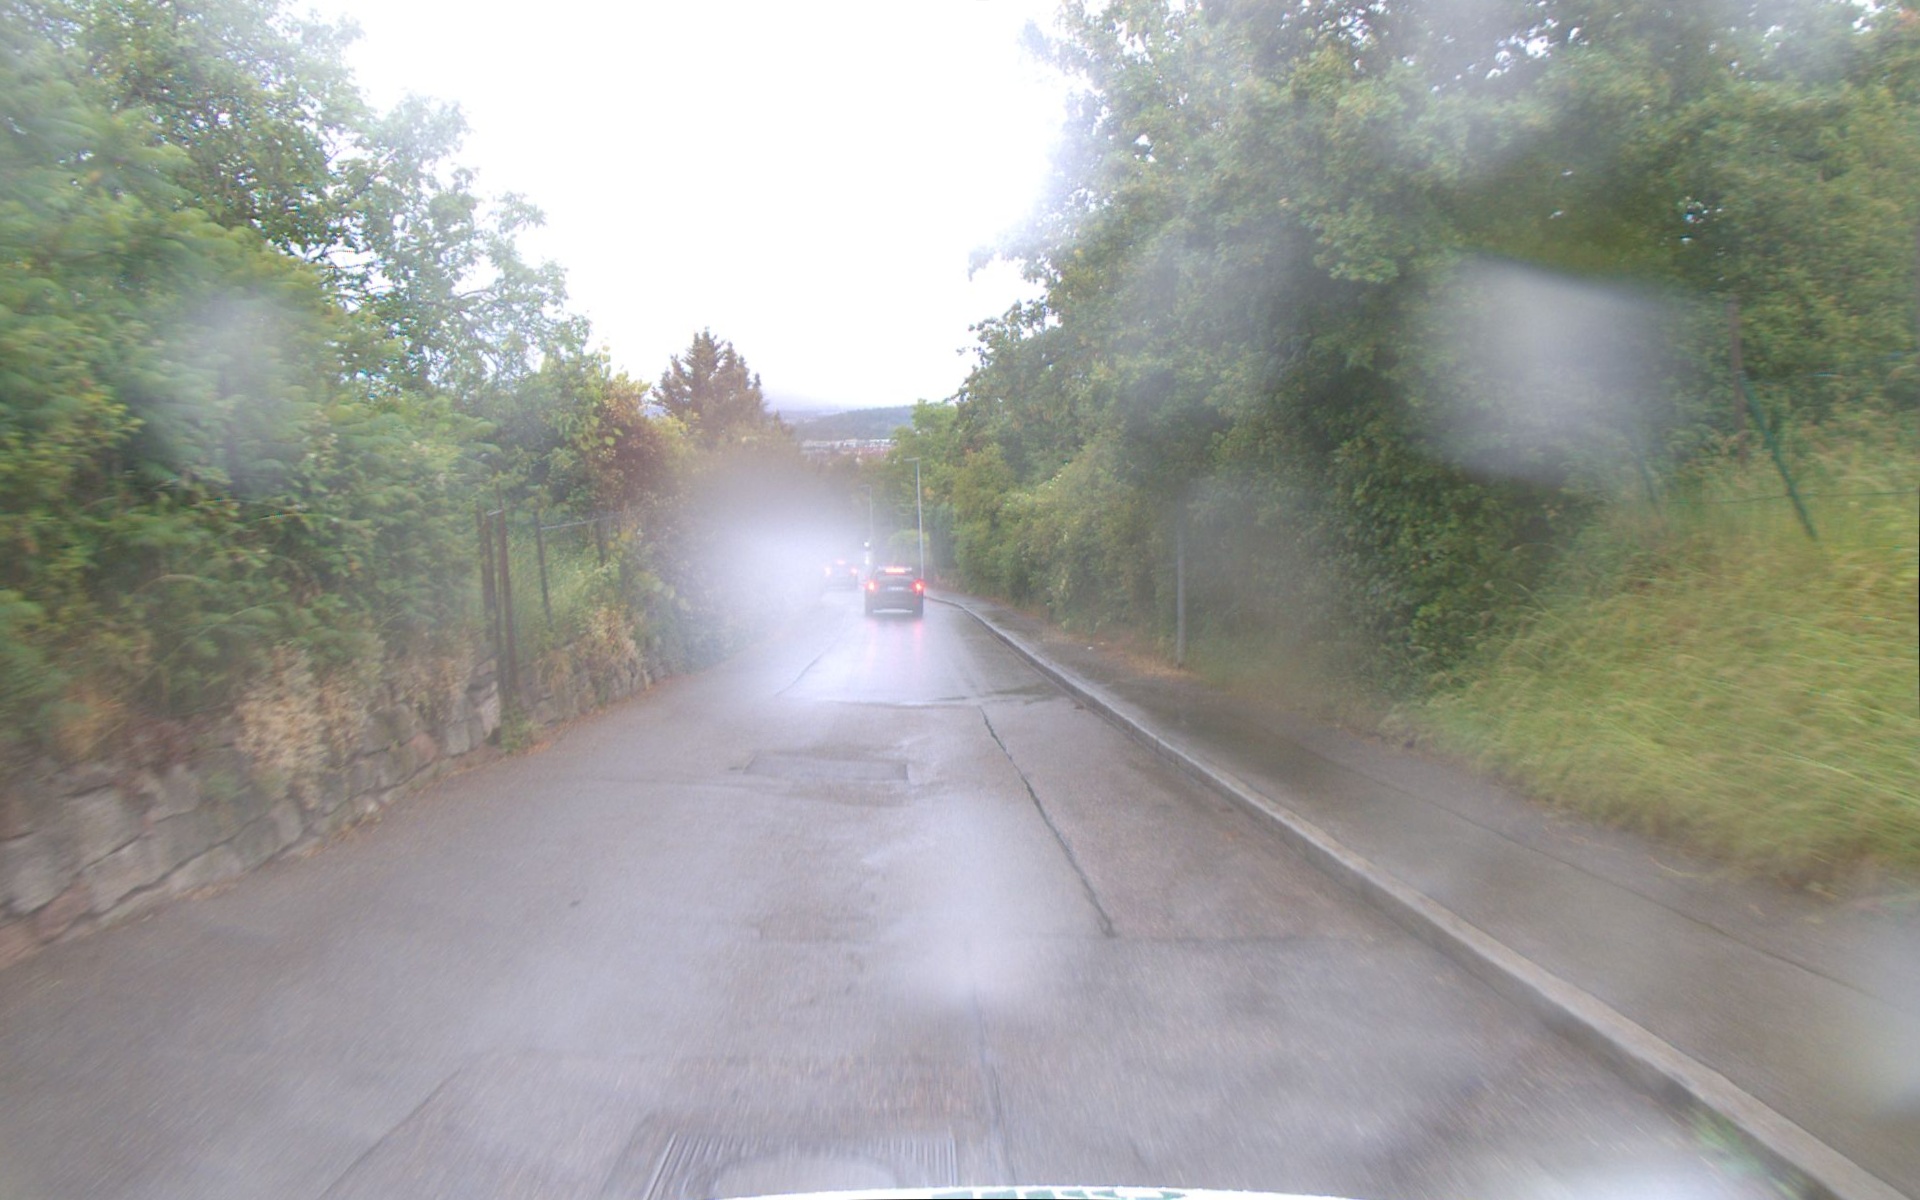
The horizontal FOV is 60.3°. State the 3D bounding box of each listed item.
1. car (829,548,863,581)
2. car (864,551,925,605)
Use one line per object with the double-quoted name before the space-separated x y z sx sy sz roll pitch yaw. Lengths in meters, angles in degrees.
"car" -5.936 -1.871 86.249 1.644 1.592 3.794 0 4 -2
"car" -2.012 -0.713 50.822 1.798 1.489 3.999 1 3 -2
